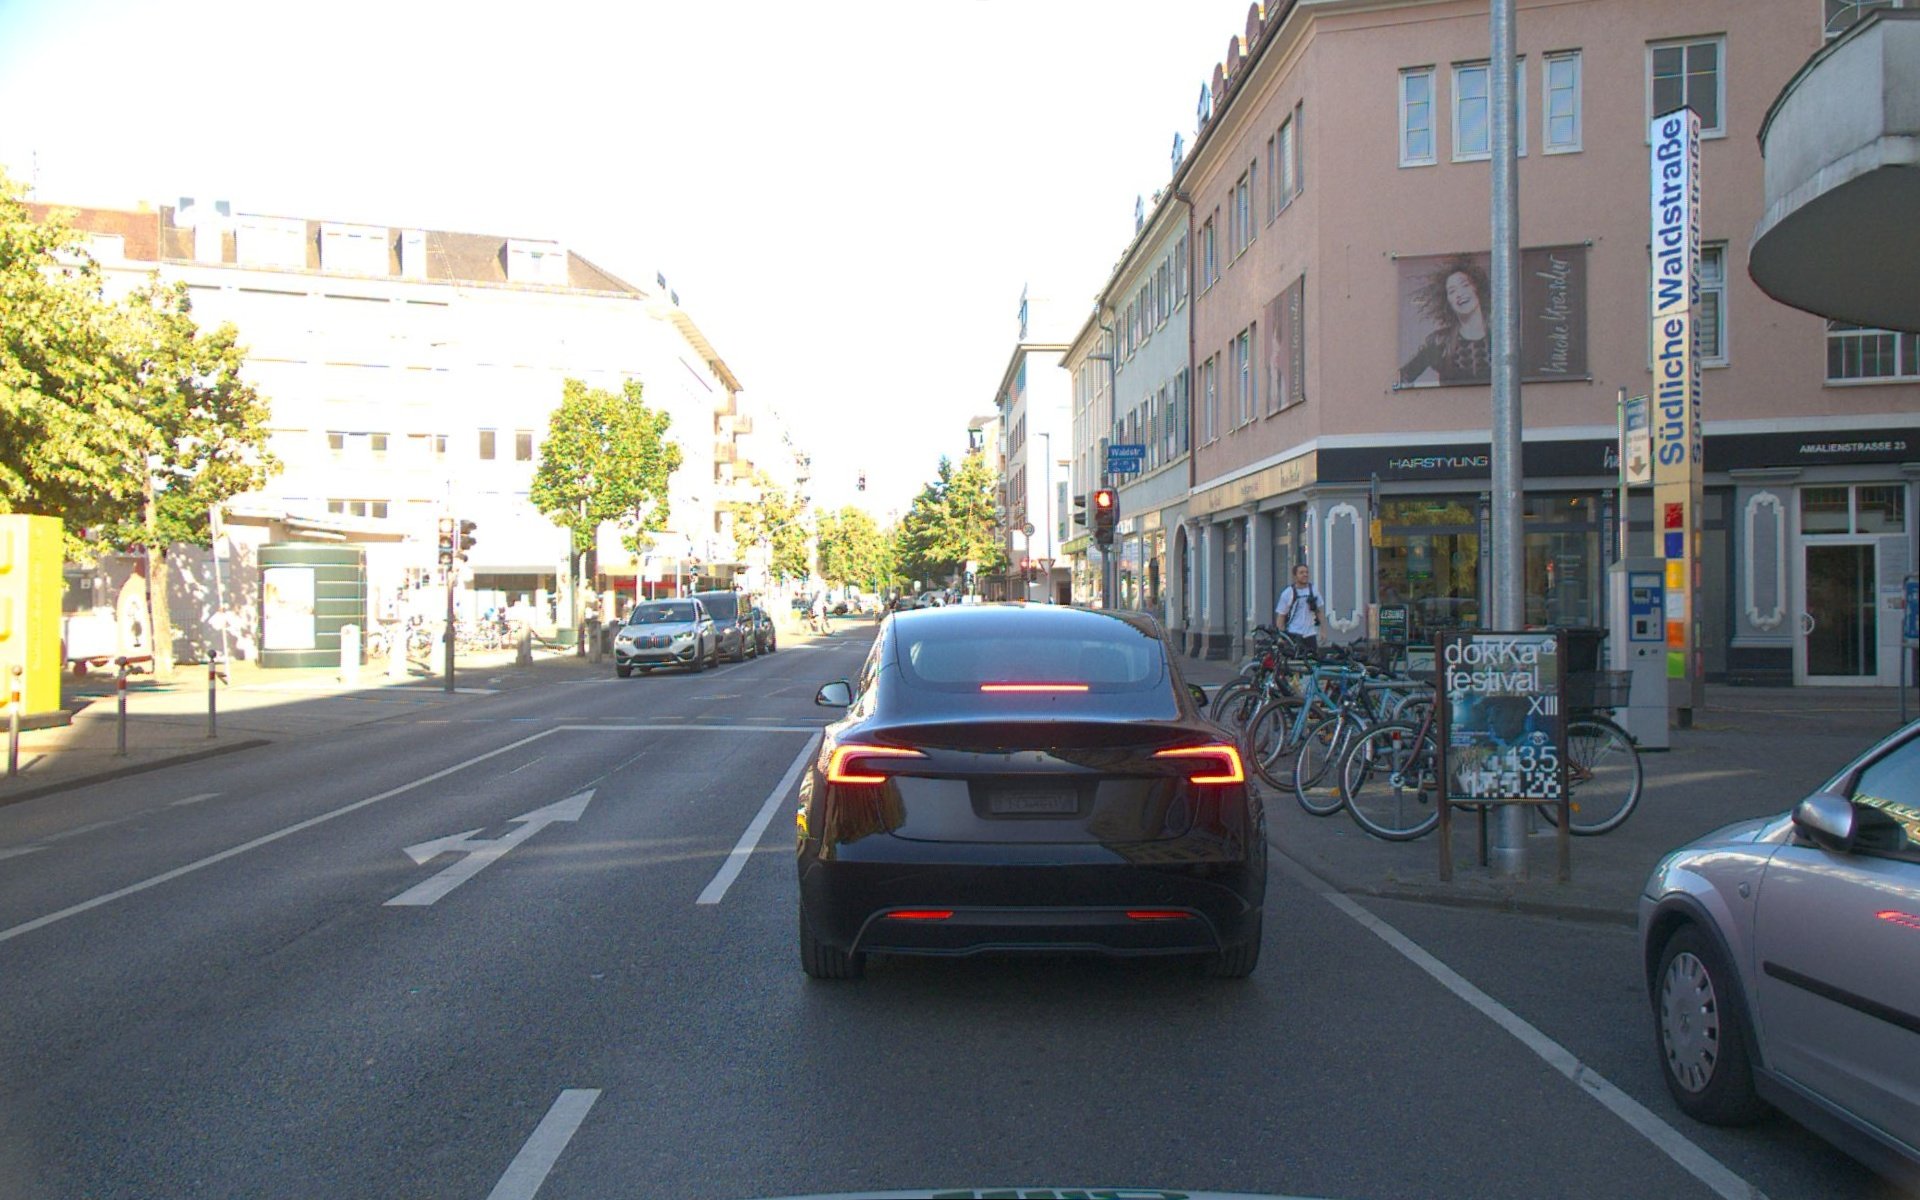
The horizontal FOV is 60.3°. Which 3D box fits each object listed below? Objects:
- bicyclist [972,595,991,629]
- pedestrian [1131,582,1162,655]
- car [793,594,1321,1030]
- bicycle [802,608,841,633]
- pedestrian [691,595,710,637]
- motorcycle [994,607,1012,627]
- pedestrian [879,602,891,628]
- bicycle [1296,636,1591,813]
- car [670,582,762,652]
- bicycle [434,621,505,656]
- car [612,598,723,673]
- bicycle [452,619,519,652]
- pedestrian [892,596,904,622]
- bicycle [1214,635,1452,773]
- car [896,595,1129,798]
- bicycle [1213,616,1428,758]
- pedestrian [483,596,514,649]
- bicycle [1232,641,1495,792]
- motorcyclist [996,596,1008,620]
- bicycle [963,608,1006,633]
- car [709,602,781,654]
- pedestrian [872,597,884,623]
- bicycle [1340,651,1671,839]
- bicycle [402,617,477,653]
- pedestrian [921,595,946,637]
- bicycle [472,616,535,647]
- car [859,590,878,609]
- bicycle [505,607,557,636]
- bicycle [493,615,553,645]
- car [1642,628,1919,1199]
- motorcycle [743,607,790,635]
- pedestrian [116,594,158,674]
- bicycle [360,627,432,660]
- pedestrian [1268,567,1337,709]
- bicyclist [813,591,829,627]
[{"bbox_3d":[0.917,0.519,70.406,0.659,1.420,0.460,1,-1,-17],"label":"bicyclist"},{"bbox_3d":[4.595,0.454,40.746,0.692,1.773,0.540,0,0,-1],"label":"pedestrian"},{"bbox_3d":[0.304,0.726,7.600,1.785,1.467,3.999,0,0,-1],"label":"car"},{"bbox_3d":[-5.806,0.870,69.373,1.536,1.030,0.480,1,-1,-25],"label":"bicycle"},{"bbox_3d":[-9.831,0.610,62.548,0.612,1.565,0.511,1,-1,-19],"label":"pedestrian"},{"bbox_3d":[2.328,0.910,89.365,0.970,1.105,0.351,1,0,-38],"label":"motorcycle"},{"bbox_3d":[-4.219,0.827,93.042,0.516,1.447,0.474,1,-1,-31],"label":"pedestrian"},{"bbox_3d":[3.240,0.832,11.172,1.834,1.106,0.414,-2,-1,3],"label":"bicycle"},{"bbox_3d":[-6.181,0.409,42.356,1.751,1.675,4.401,0,0,-1],"label":"car"},{"bbox_3d":[-13.982,1.089,47.141,1.826,0.950,0.606,1,0,-2],"label":"bicycle"},{"bbox_3d":[-6.320,0.746,36.093,1.752,1.485,3.756,-2,0,-1],"label":"car"},{"bbox_3d":[-14.219,1.065,49.611,1.826,0.950,0.606,1,0,-2],"label":"bicycle"},{"bbox_3d":[-3.489,0.526,92.742,0.516,1.447,0.474,1,-1,-31],"label":"pedestrian"},{"bbox_3d":[3.057,0.854,13.671,1.833,1.056,0.548,-2,-1,5],"label":"bicycle"},{"bbox_3d":[0.310,0.690,13.852,1.683,1.450,3.755,0,0,-2],"label":"car"},{"bbox_3d":[3.200,0.772,14.793,1.789,1.189,0.506,-2,-1,5],"label":"bicycle"},{"bbox_3d":[-17.961,0.860,64.317,1.041,2.049,1.049,1,-1,-20],"label":"pedestrian"},{"bbox_3d":[3.024,0.869,12.491,1.834,1.056,0.533,-2,-1,3],"label":"bicycle"},{"bbox_3d":[2.271,0.413,89.319,0.486,1.275,0.350,1,-1,-38],"label":"motorcyclist"},{"bbox_3d":[1.047,0.869,70.445,1.756,1.024,0.469,1,-1,-17],"label":"bicycle"},{"bbox_3d":[-6.397,0.815,49.496,1.680,1.471,3.844,1,0,-1],"label":"car"},{"bbox_3d":[-4.552,0.538,92.088,0.516,1.447,0.474,1,-1,-31],"label":"pedestrian"},{"bbox_3d":[3.266,0.869,9.990,1.833,1.056,0.353,-2,-1,6],"label":"bicycle"},{"bbox_3d":[-14.157,0.953,44.984,1.826,0.950,0.606,1,0,-2],"label":"bicycle"},{"bbox_3d":[-1.083,0.653,67.609,0.742,1.660,0.951,1,-1,-18],"label":"pedestrian"},{"bbox_3d":[-14.330,0.980,51.949,1.826,0.950,0.606,0,0,-2],"label":"bicycle"},{"bbox_3d":[-10.368,-0.074,187.027,1.953,2.049,3.999,0,0,-1],"label":"car"},{"bbox_3d":[-20.151,1.027,77.704,2.334,1.318,0.509,1,-1,-27],"label":"bicycle"},{"bbox_3d":[-14.365,0.990,54.397,1.826,0.950,0.606,0,0,-2],"label":"bicycle"},{"bbox_3d":[2.913,0.792,3.502,1.515,1.415,3.476,0,0,0],"label":"car"},{"bbox_3d":[-7.810,0.840,66.772,1.911,1.130,0.512,0,0,-36],"label":"motorcycle"},{"bbox_3d":[-18.168,0.744,36.527,0.465,1.746,0.711,1,-1,9],"label":"pedestrian"},{"bbox_3d":[-14.451,1.112,42.401,1.612,0.806,0.606,1,0,-5],"label":"bicycle"},{"bbox_3d":[4.436,0.481,21.477,0.735,1.796,0.837,1,-1,3],"label":"pedestrian"},{"bbox_3d":[-5.824,0.372,69.364,0.516,1.530,0.472,1,-1,-25],"label":"bicyclist"}]
